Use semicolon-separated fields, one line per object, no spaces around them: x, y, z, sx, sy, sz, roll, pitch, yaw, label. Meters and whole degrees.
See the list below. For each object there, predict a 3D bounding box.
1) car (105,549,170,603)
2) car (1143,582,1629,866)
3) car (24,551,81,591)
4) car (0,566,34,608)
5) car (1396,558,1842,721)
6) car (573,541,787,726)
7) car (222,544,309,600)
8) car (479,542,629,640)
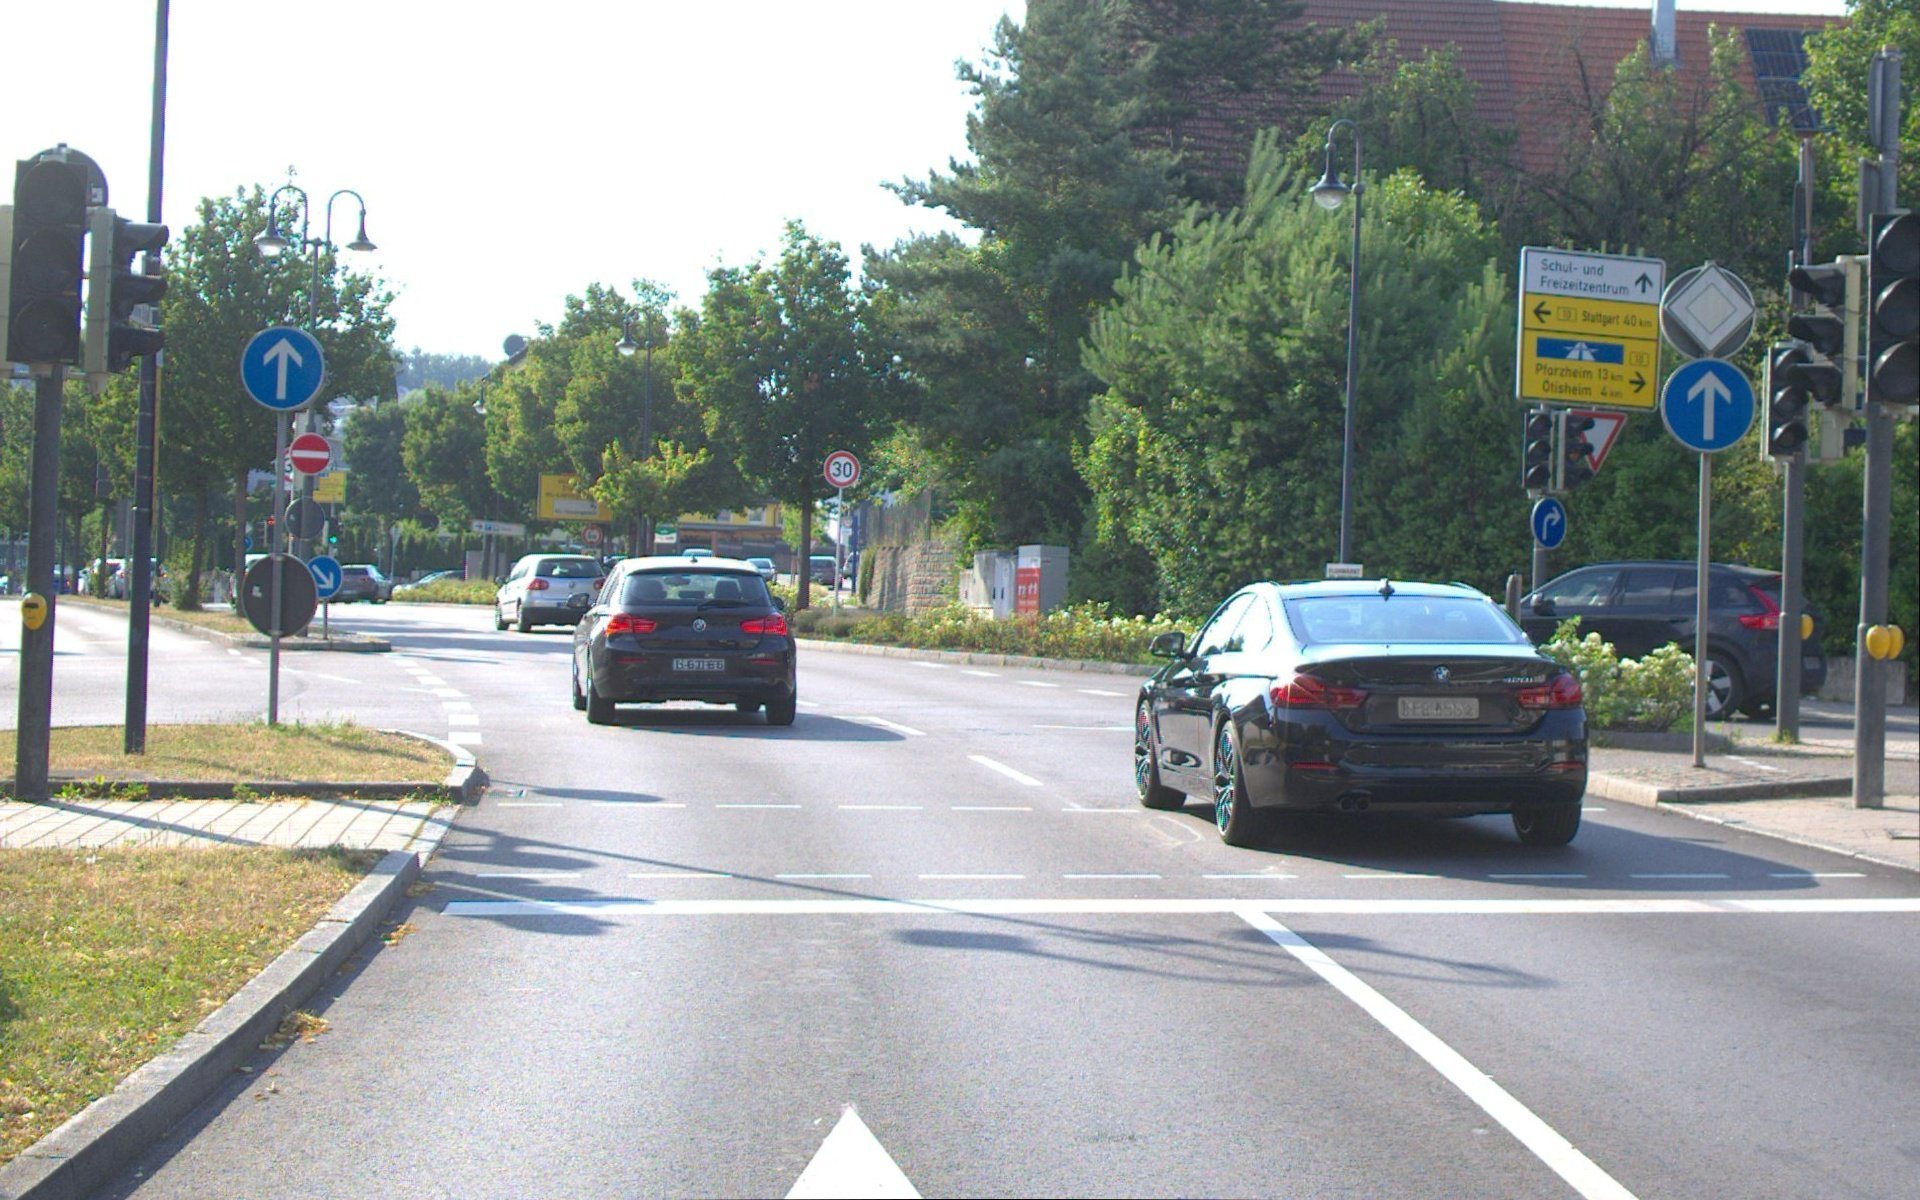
-27.793;-0.820;116.057;1.755;1.763;3.972;1;1;-19;car
2.190;0.595;18.897;1.920;1.359;4.353;1;0;-3;car
-41.577;-1.356;157.500;2.216;1.763;4.456;1;1;-19;car
-48.052;-0.674;174.732;1.772;2.007;4.001;1;1;-14;car
6.968;0.385;36.479;4.265;1.561;1.789;2;1;34;car
-2.488;0.256;30.524;1.721;1.485;4.353;1;0;-5;car
-22.896;-0.943;113.228;2.216;1.763;4.456;1;1;-19;car
-7.717;-0.194;64.995;1.924;1.763;4.456;1;1;-19;car
